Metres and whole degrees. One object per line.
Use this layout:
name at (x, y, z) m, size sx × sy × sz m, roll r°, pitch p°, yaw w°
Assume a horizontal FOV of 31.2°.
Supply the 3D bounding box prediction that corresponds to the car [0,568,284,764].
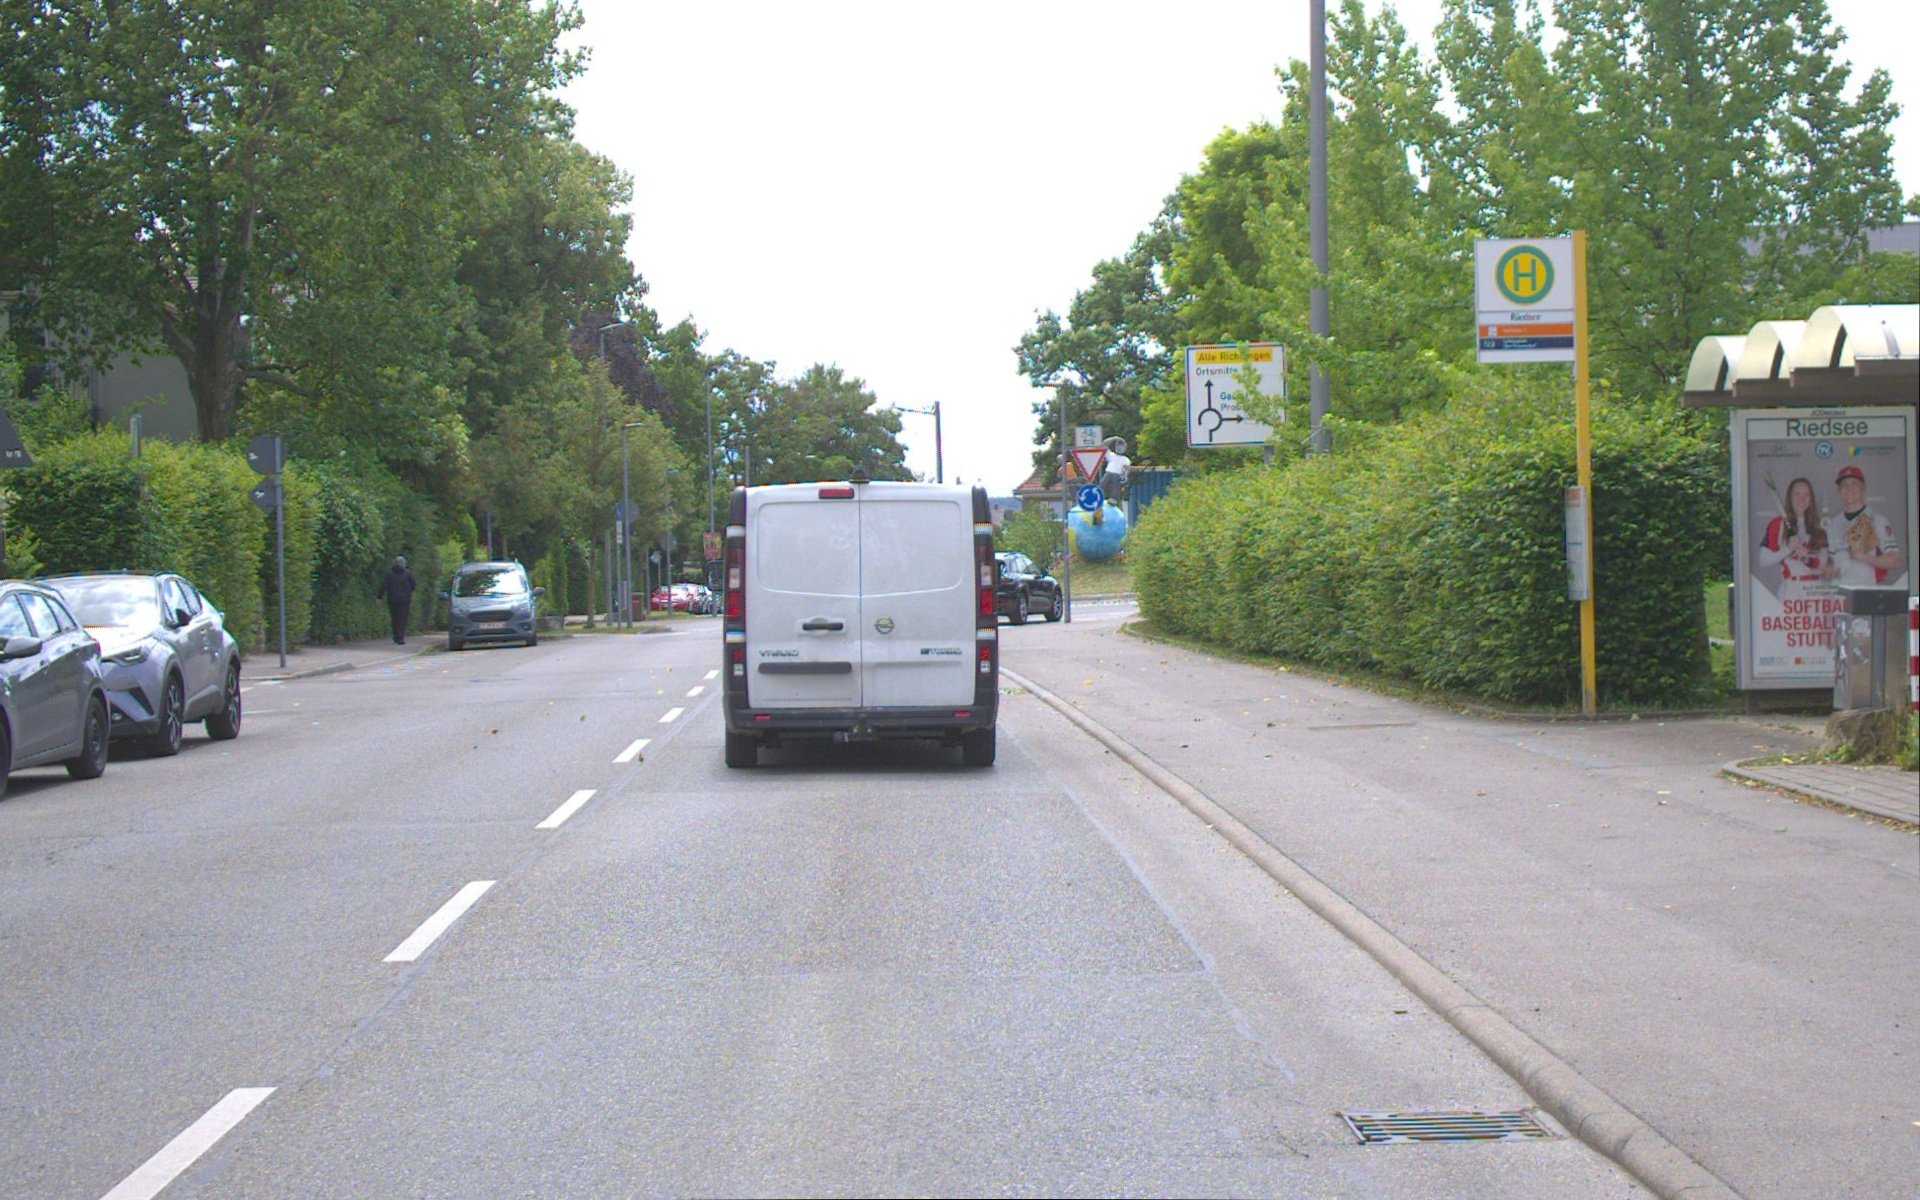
car at (-7.315, 0.517, 29.460) m, size 1.993 × 1.474 × 4.647 m, roll -2°, pitch 1°, yaw 1°

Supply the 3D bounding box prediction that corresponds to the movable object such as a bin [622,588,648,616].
movable object such as a bin at (-10.440, 0.070, 110.429) m, size 0.630 × 0.860 × 0.640 m, roll -3°, pitch 0°, yaw 9°

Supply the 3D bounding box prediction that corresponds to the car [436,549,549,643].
car at (-9.320, -0.107, 68.256) m, size 2.131 × 1.766 × 4.466 m, roll 0°, pitch 1°, yaw -9°

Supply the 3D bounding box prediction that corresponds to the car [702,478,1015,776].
car at (-0.760, 0.132, 24.966) m, size 2.034 × 1.939 × 4.994 m, roll 0°, pitch 1°, yaw -2°

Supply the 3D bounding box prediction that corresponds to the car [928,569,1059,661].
car at (0.790, 0.312, 78.033) m, size 1.995 × 2.007 × 3.997 m, roll 1°, pitch 1°, yaw 16°

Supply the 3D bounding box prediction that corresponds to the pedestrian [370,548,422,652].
pedestrian at (-11.120, -0.009, 67.832) m, size 0.871 × 2.007 × 1.041 m, roll -3°, pitch 1°, yaw -6°

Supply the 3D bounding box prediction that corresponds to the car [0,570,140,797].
car at (-7.176, 0.554, 23.828) m, size 1.867 × 1.454 × 4.489 m, roll -1°, pitch 1°, yaw 0°

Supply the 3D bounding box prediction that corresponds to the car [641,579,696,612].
car at (-13.408, -0.226, 157.866) m, size 2.062 × 1.381 × 4.049 m, roll -1°, pitch 1°, yaw -11°
